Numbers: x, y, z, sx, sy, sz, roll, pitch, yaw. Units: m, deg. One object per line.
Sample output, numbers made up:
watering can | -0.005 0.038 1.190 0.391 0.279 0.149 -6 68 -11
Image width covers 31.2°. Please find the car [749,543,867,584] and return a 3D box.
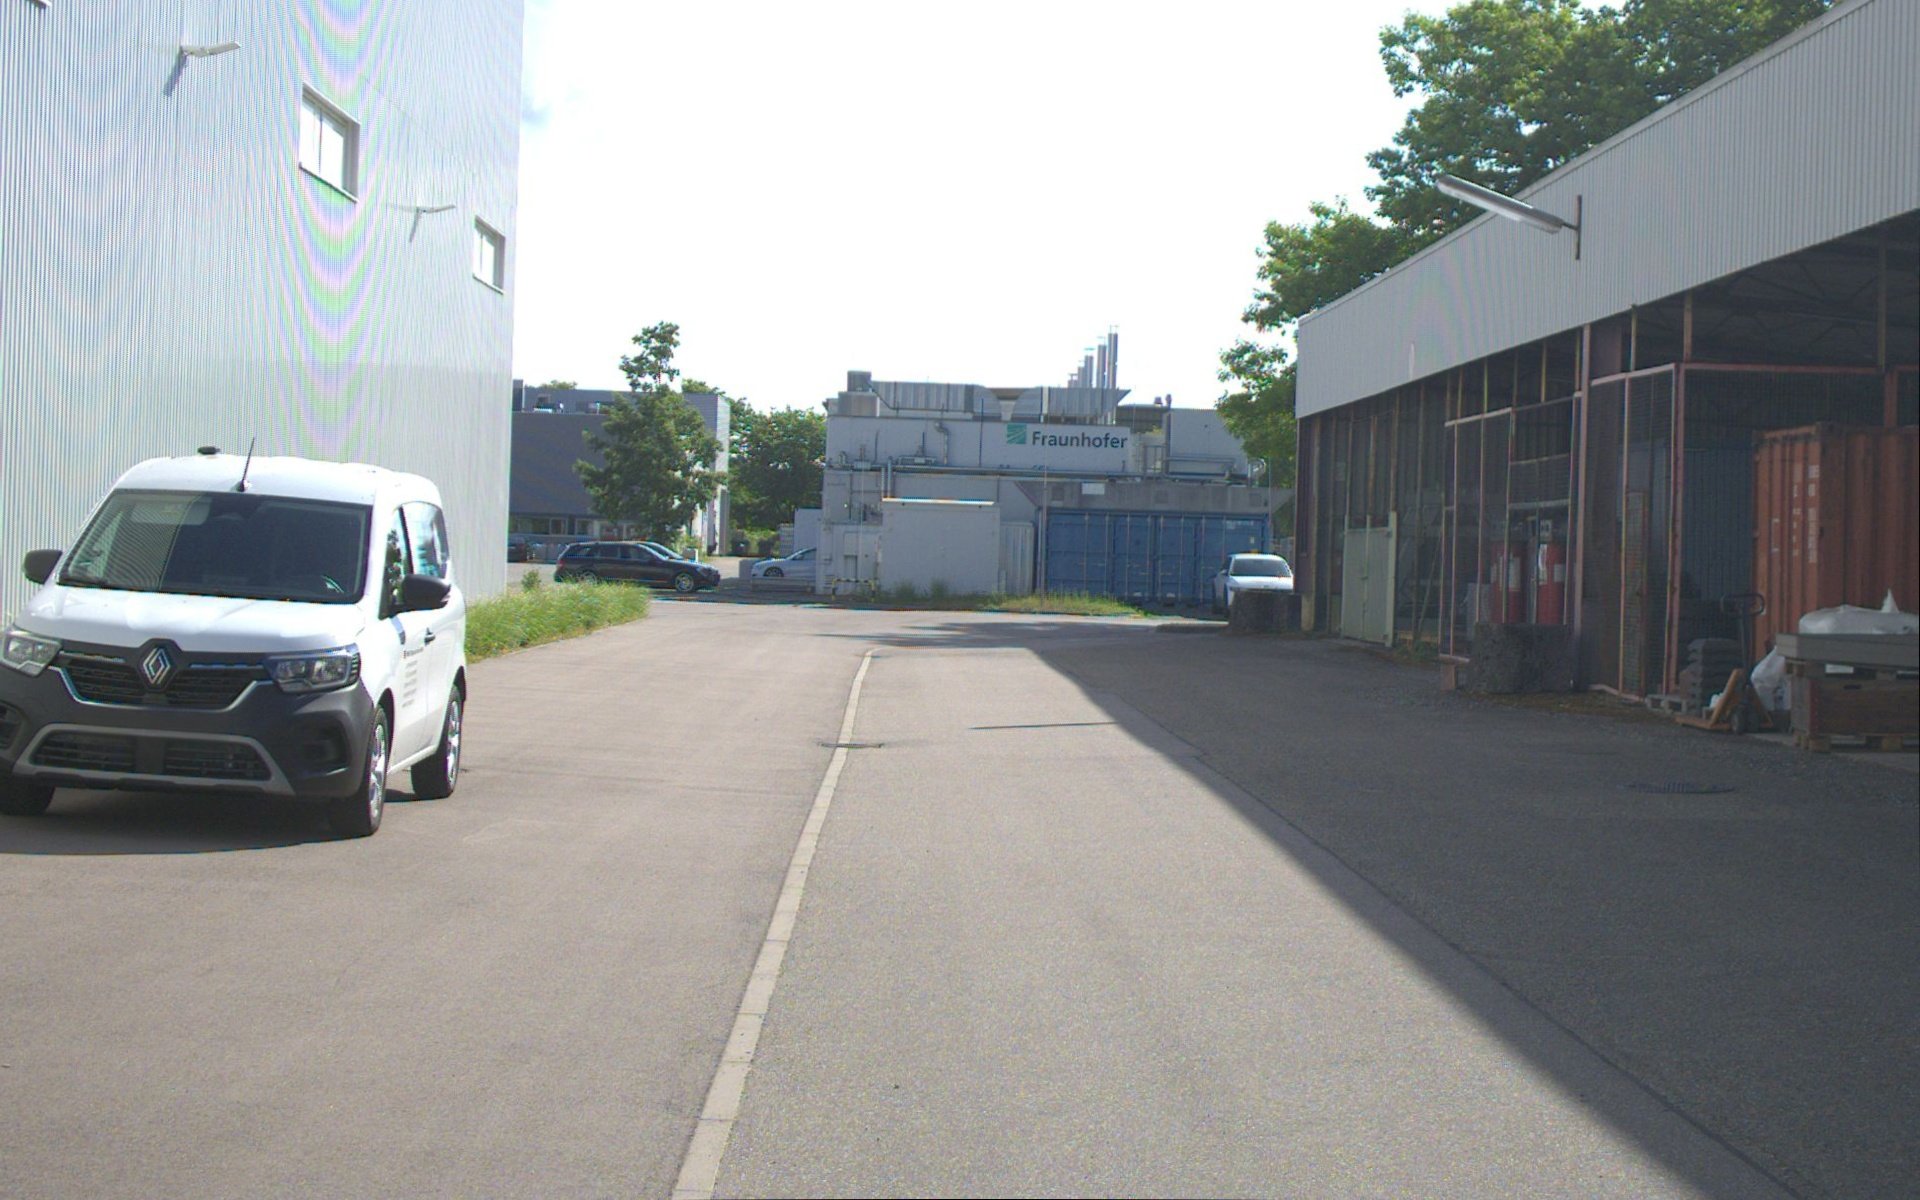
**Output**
car | -5.624 -1.360 127.485 4.302 1.452 1.824 1 0 -1

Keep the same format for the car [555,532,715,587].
car | -9.390 -1.171 99.556 4.447 1.526 1.824 1 0 -1

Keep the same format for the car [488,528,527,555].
car | -25.613 -3.310 194.754 1.858 1.489 4.030 0 0 -3

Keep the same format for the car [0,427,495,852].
car | -3.601 0.155 17.652 1.783 1.809 4.602 3 0 -1

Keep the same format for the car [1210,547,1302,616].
car | 7.484 -0.483 87.243 1.979 1.597 4.377 0 2 1

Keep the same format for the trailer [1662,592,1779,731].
trailer | 6.329 0.496 28.665 0.551 1.114 1.547 0 0 -3
